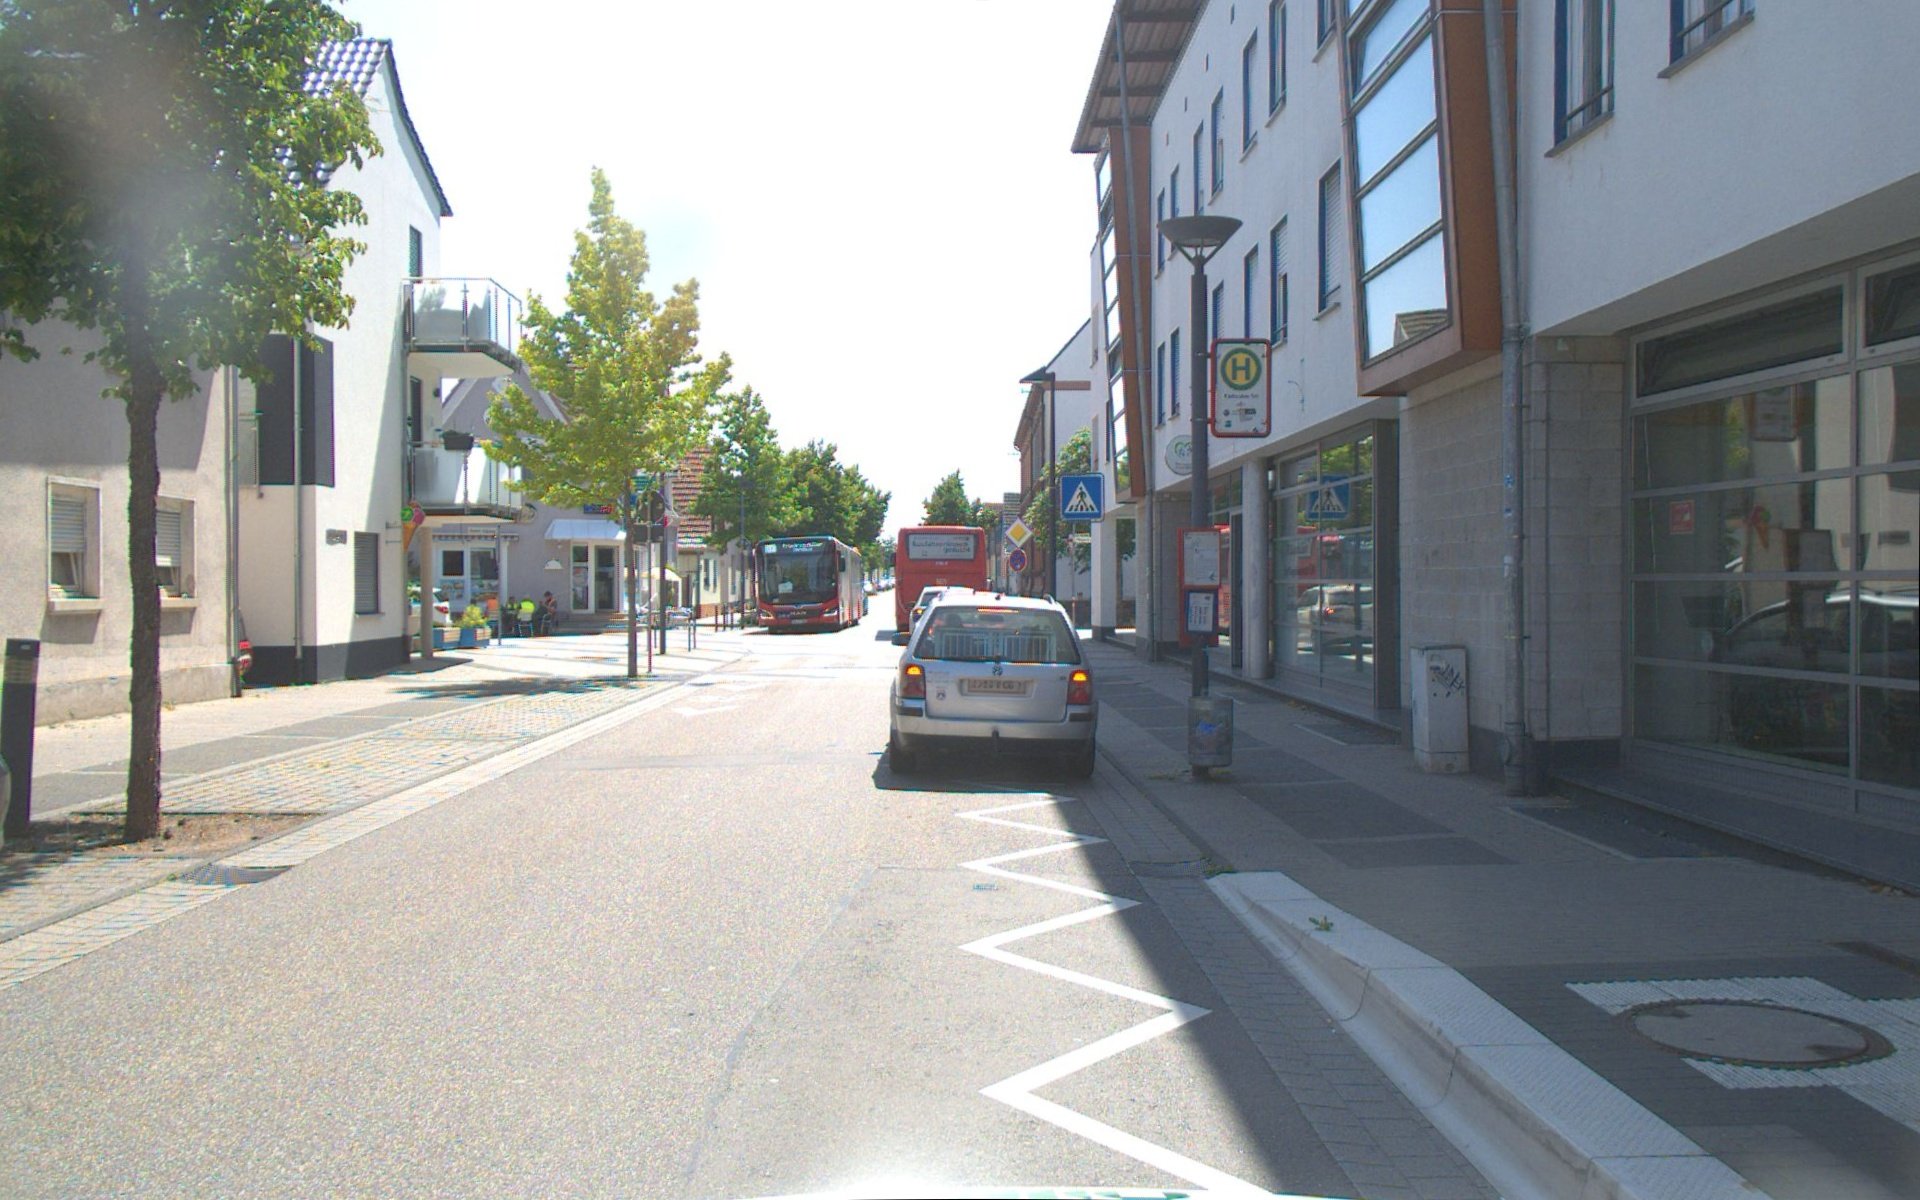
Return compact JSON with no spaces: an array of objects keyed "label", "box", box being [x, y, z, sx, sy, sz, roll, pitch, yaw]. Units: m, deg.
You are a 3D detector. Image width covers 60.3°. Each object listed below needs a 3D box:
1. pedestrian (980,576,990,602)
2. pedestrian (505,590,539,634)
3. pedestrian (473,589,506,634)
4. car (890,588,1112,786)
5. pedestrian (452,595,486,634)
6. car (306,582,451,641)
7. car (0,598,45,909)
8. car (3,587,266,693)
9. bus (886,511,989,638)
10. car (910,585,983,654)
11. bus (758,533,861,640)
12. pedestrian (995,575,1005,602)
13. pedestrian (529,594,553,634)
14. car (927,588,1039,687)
[{"label":"pedestrian","box":[1.642,-0.741,108.534,0.594,1.696,0.789,0,0,-3]},{"label":"pedestrian","box":[-13.193,0.359,49.826,0.631,1.311,0.776,2,0,-45]},{"label":"pedestrian","box":[-14.192,0.353,49.925,0.631,1.311,0.776,2,0,-45]},{"label":"car","box":[0.272,0.648,14.424,1.643,1.455,3.678,2,0,-1]},{"label":"pedestrian","box":[-14.517,0.428,48.910,0.631,1.135,0.776,2,0,-45]},{"label":"car","box":[-16.606,0.295,47.396,3.855,1.572,1.511,-1,2,-18]},{"label":"car","box":[-5.320,0.741,5.886,1.627,1.462,4.538,0,0,0]},{"label":"car","box":[-12.010,0.552,24.212,3.054,1.468,1.585,0,0,-7]},{"label":"bus","box":[-0.877,-0.710,50.346,2.685,3.356,12.698,0,0,-3]},{"label":"car","box":[-0.304,0.408,37.450,1.561,1.455,3.679,1,0,0]},{"label":"bus","box":[-5.122,-0.494,59.406,2.615,3.178,17.800,-1,1,-2]},{"label":"pedestrian","box":[2.595,-0.741,106.997,0.594,1.696,0.789,0,0,-3]},{"label":"pedestrian","box":[-12.880,0.433,50.859,0.610,1.199,0.696,0,0,-6]},{"label":"car","box":[0.305,0.541,26.424,1.643,1.455,3.678,1,0,-1]}]
